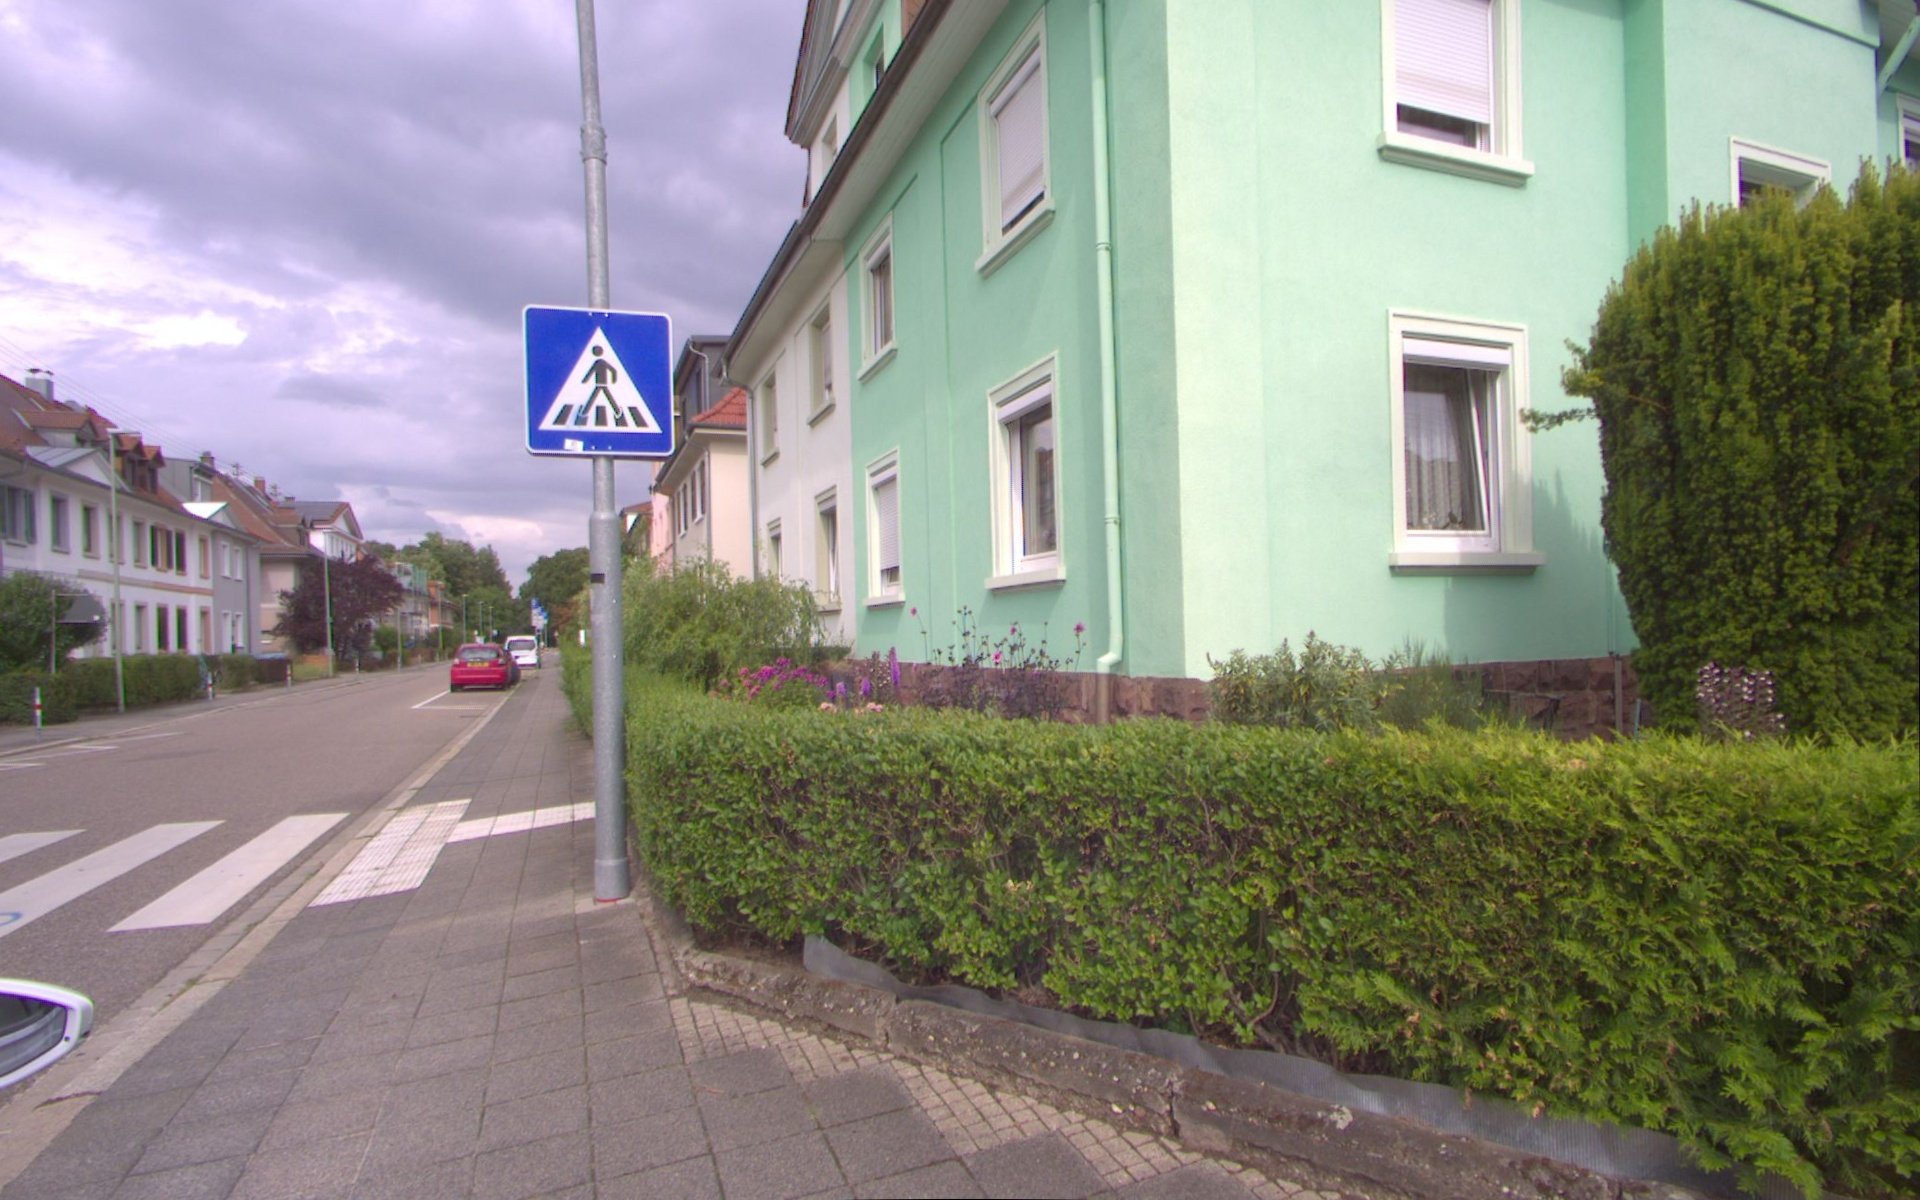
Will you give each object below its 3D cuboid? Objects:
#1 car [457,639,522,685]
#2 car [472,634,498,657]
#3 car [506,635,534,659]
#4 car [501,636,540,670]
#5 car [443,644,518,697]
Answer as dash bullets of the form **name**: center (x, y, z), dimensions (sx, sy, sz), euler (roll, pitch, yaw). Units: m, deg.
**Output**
- **car**: center (-17.826, 2.302, 38.072), dimensions (1.967, 1.594, 3.990), euler (-1, -2, -22)
- **car**: center (-44.914, 4.282, 94.750), dimensions (1.967, 2.039, 3.990), euler (-1, -2, -22)
- **car**: center (-36.841, 3.985, 83.912), dimensions (1.967, 1.854, 3.994), euler (1, -5, -21)
- **car**: center (-26.037, 3.123, 59.425), dimensions (1.967, 1.928, 3.990), euler (-1, -2, -22)
- **car**: center (-15.856, 2.281, 33.282), dimensions (1.967, 1.594, 3.990), euler (-1, -2, -22)
